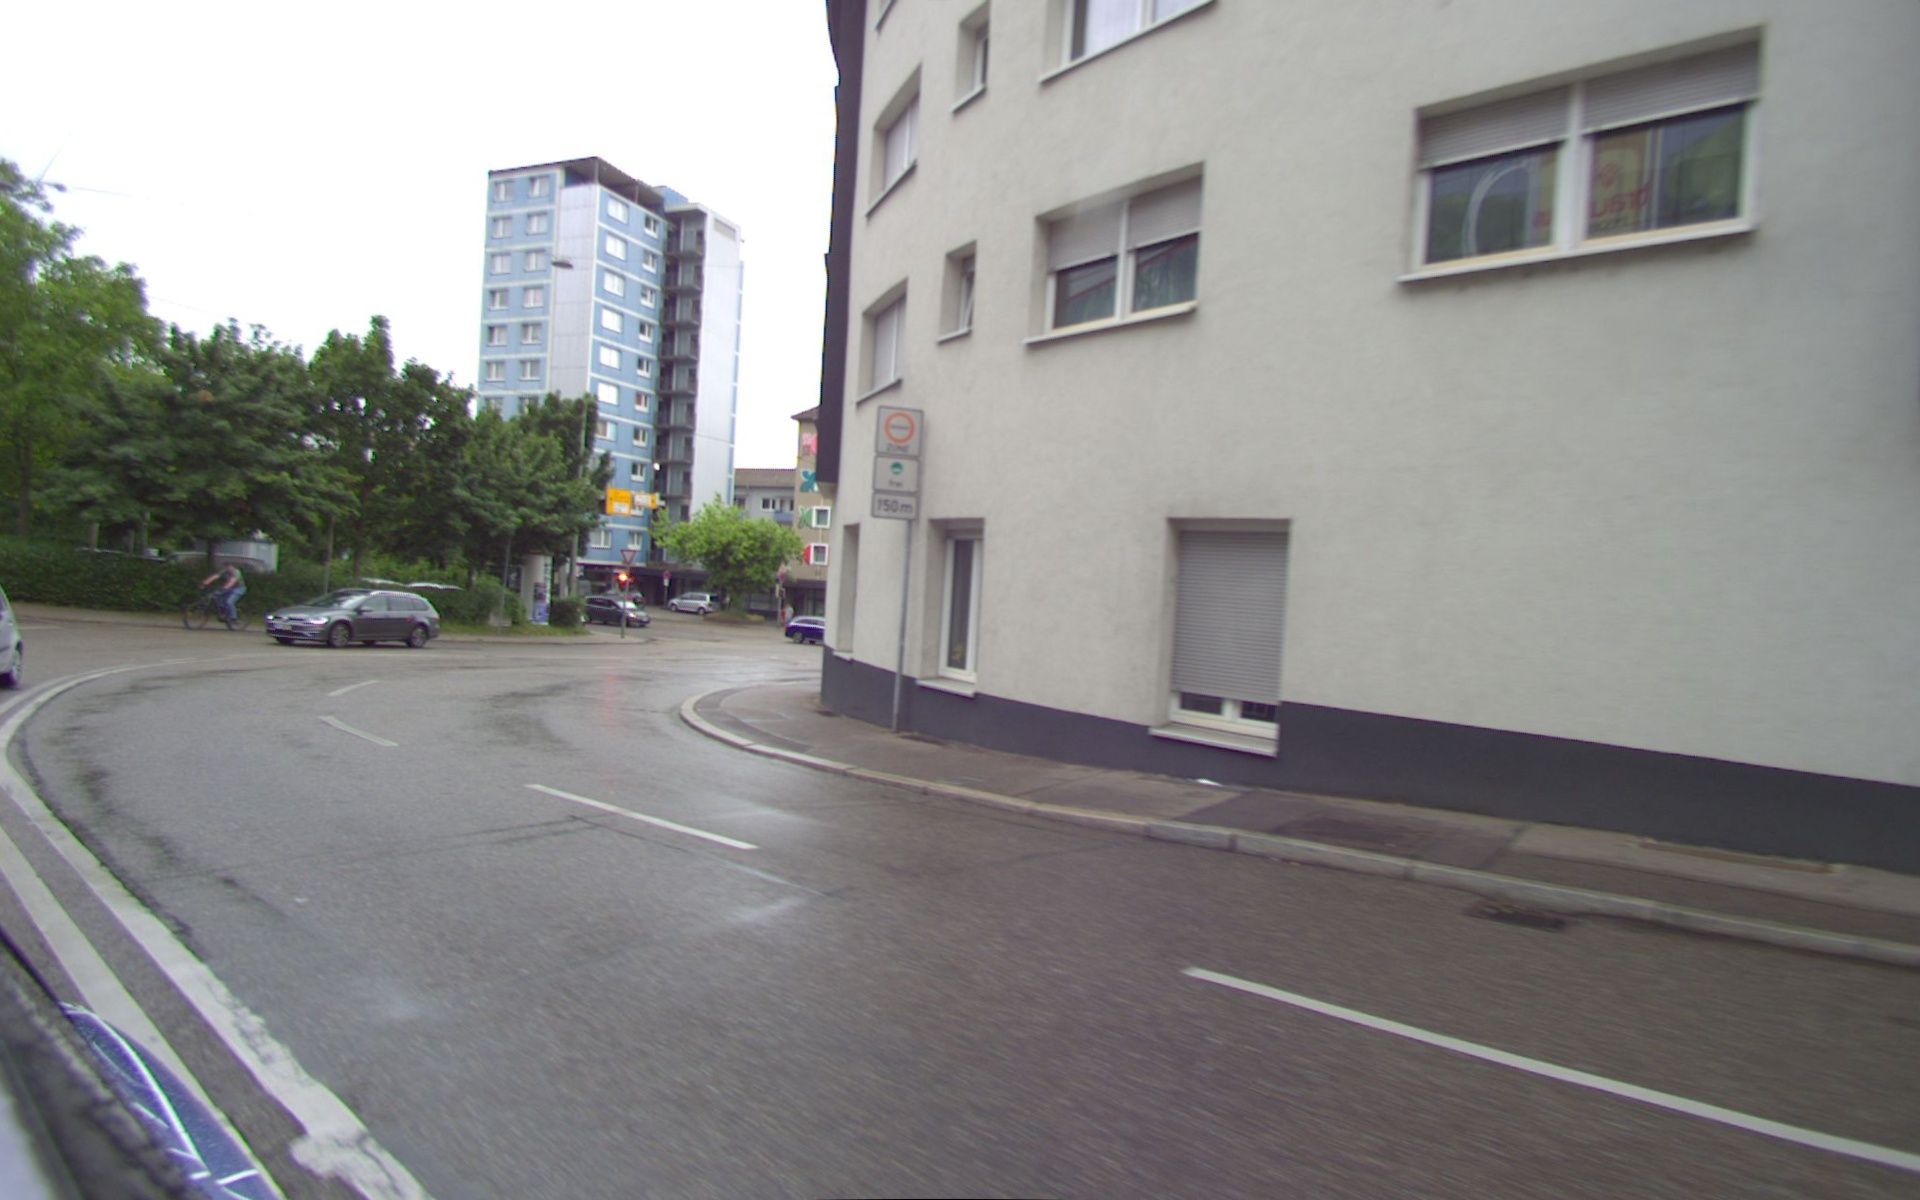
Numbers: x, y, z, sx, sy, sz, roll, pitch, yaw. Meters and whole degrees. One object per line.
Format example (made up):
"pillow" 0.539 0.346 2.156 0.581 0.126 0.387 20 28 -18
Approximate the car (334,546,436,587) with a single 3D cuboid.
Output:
"car" -27.805 -1.578 49.081 1.787 1.521 3.972 4 -3 21

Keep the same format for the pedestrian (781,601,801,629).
"pedestrian" -11.474 1.012 68.566 0.898 1.787 0.811 5 0 23

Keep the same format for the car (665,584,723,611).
"car" -20.479 -0.220 77.957 4.161 1.677 1.638 6 3 23

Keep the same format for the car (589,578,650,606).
"car" -25.257 -0.617 75.029 4.161 1.677 1.638 6 3 23

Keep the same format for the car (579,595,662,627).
"car" -19.683 0.628 58.766 4.232 1.521 1.796 2 6 9

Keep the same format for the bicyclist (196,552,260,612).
"bicyclist" -20.079 -0.477 27.779 0.881 1.500 0.963 6 0 17

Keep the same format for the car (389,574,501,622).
"car" -21.588 -0.102 42.439 4.180 1.633 1.627 4 -2 20

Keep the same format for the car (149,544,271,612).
"car" -25.384 -0.770 34.226 4.195 1.975 1.621 4 -3 30

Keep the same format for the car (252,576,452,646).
"car" -15.564 0.350 26.232 1.672 1.516 4.480 4 -2 14

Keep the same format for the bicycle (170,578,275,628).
"bicycle" -20.155 0.105 27.722 0.881 1.196 2.122 6 0 16

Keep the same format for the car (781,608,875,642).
"car" -6.992 1.301 53.718 4.624 1.406 1.809 4 1 20

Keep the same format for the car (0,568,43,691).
"car" -12.662 0.353 12.193 1.659 1.516 3.850 2 0 -31
